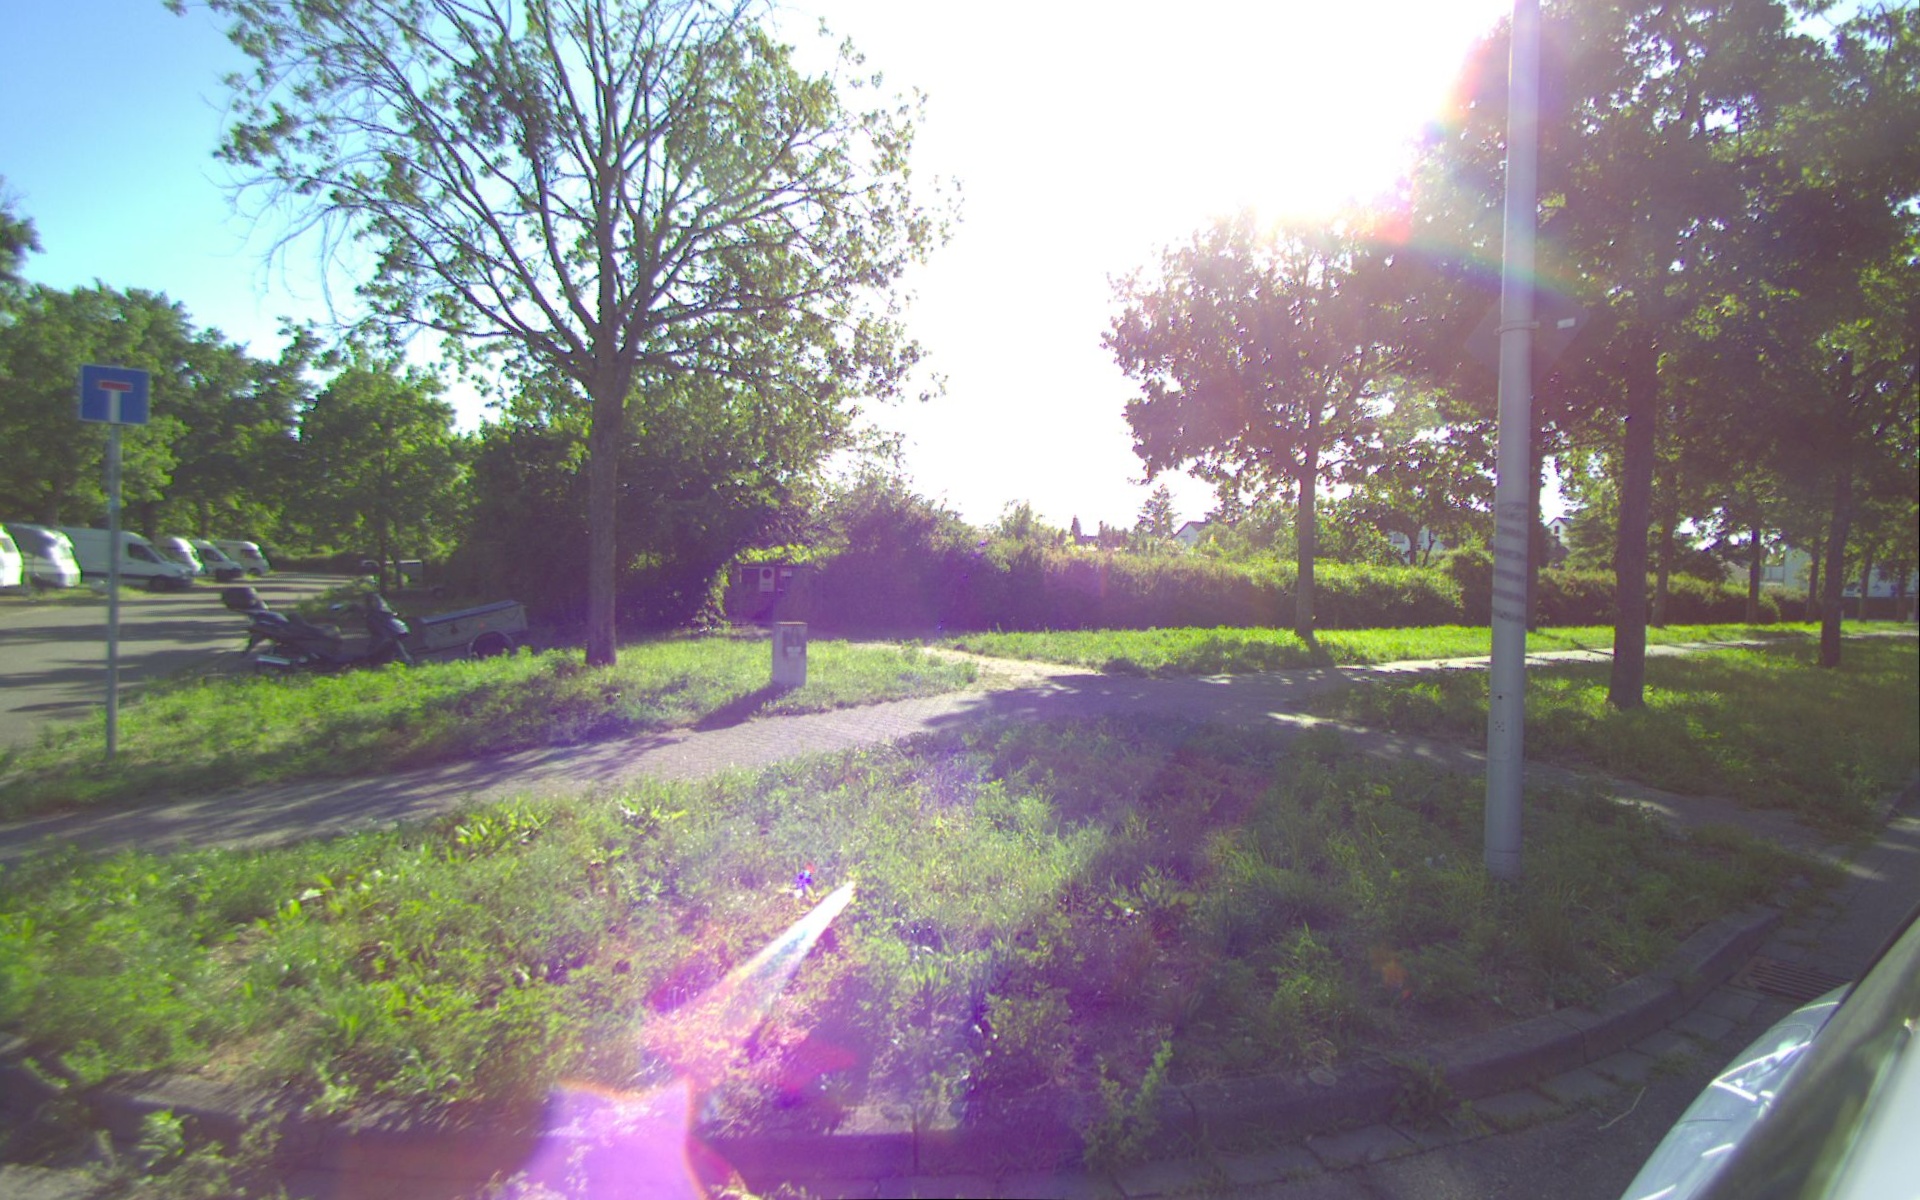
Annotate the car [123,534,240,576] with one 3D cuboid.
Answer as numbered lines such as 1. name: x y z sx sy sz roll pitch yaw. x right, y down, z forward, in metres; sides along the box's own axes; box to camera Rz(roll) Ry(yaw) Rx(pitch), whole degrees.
1. car: -47.571 -2.697 62.034 5.463 2.444 2.205 0 0 -31

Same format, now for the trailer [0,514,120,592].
1. trailer: -32.777 -1.650 35.713 4.553 2.607 2.189 1 1 -33

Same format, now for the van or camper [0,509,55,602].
1. van or camper: -29.840 -1.331 28.126 6.640 2.607 2.191 1 1 -29

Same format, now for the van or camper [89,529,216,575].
1. van or camper: -46.880 -2.766 58.927 5.479 2.451 2.191 1 1 -29

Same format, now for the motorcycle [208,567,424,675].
1. motorcycle: -8.616 0.241 13.678 2.359 1.246 0.666 -4 4 -30

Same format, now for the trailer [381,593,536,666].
1. trailer: -7.706 0.411 15.565 2.014 0.878 1.586 -4 4 -29

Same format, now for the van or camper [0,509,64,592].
1. van or camper: -32.667 -1.638 32.238 5.799 2.607 2.191 1 1 -29

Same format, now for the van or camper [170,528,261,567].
1. van or camper: -58.259 -4.066 79.370 5.480 2.799 2.412 1 1 -30

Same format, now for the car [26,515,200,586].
1. car: -37.057 -2.084 44.546 5.568 2.947 2.343 0 0 -31
